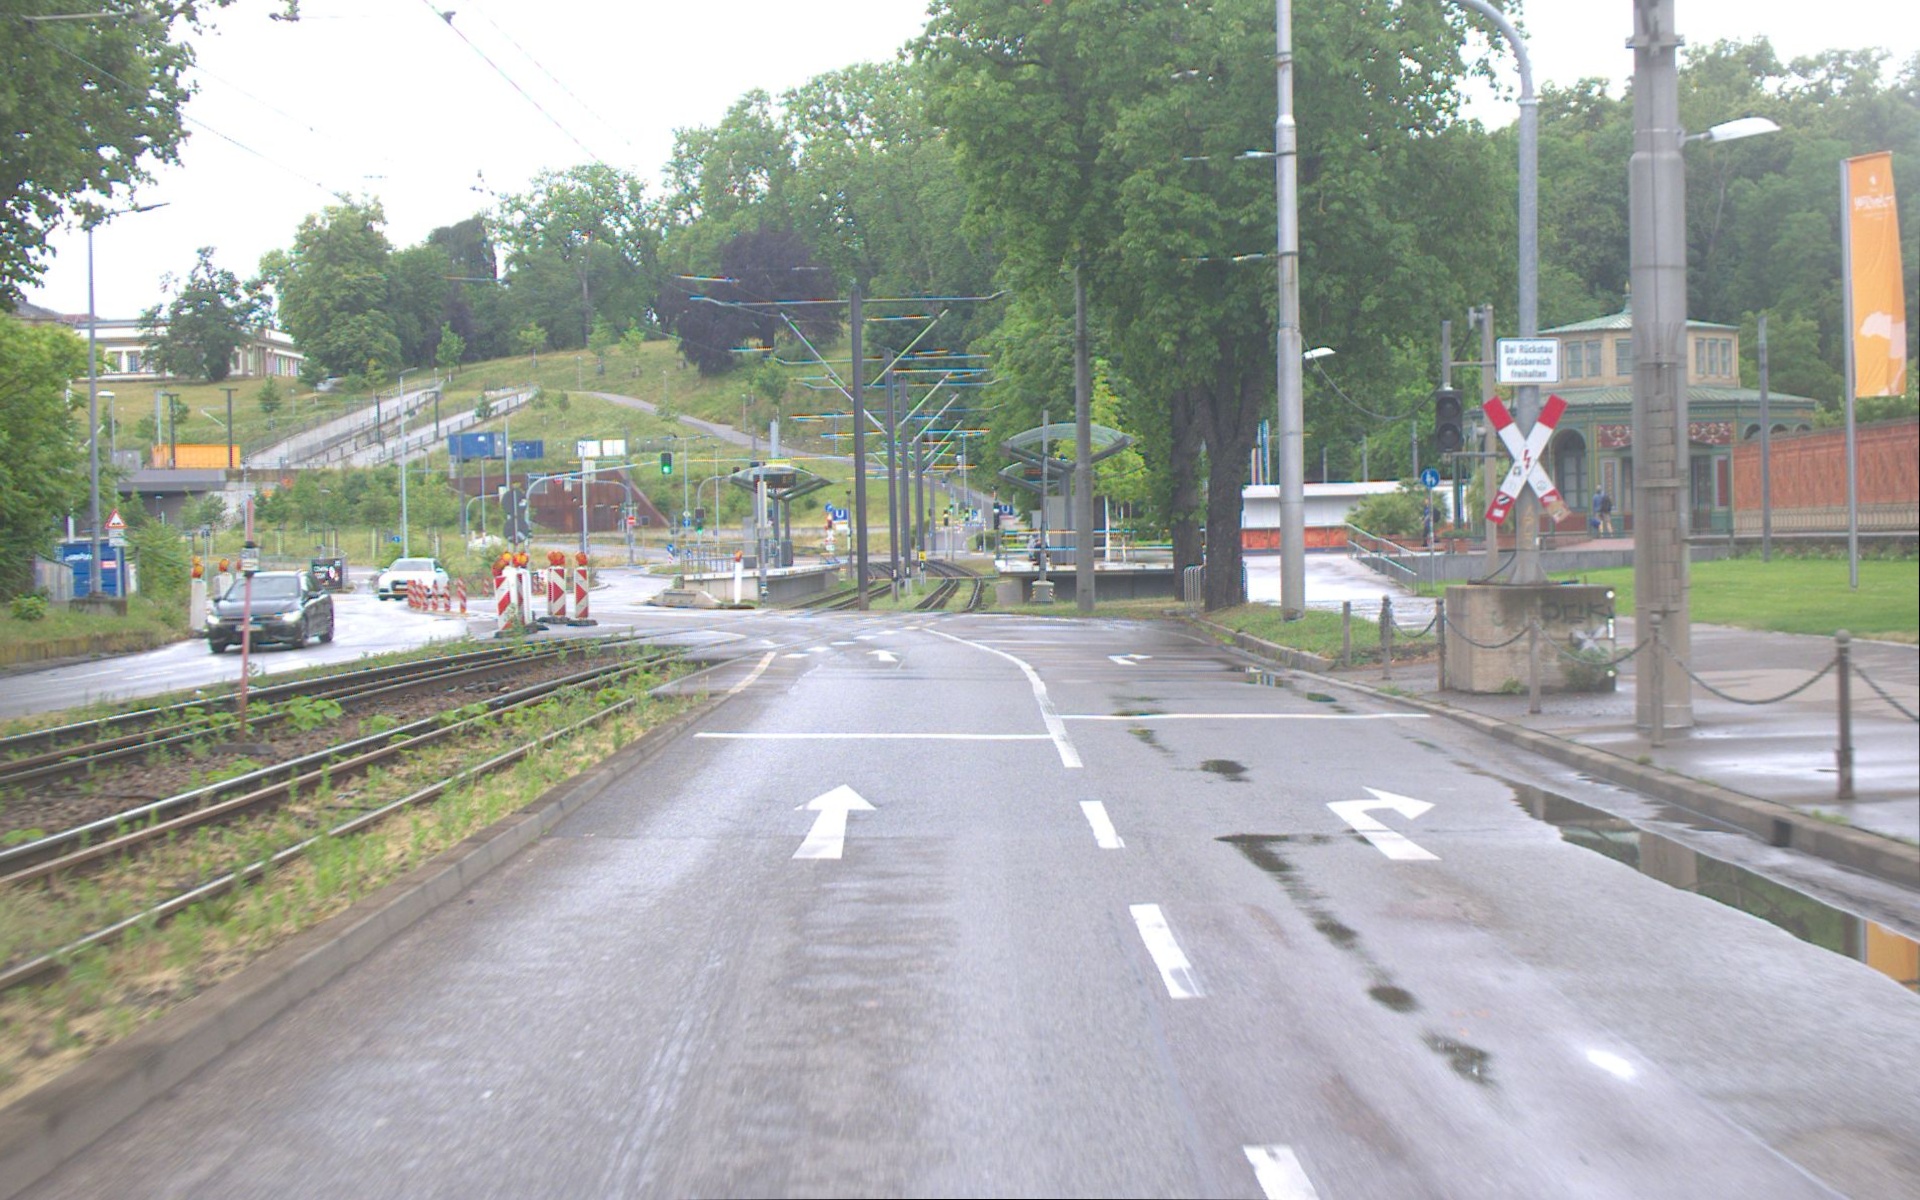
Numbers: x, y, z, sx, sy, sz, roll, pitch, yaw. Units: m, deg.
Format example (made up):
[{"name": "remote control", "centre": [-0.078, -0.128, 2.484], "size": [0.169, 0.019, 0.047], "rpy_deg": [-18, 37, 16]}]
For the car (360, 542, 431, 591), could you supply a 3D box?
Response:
[{"name": "car", "centre": [-18.546, -1.113, 113.033], "size": [1.708, 1.493, 4.720], "rpy_deg": [-2, 1, -2]}]

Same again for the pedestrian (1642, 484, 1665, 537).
[{"name": "pedestrian", "centre": [22.060, -2.847, 109.357], "size": [0.551, 1.651, 0.468], "rpy_deg": [-1, 0, 35]}]

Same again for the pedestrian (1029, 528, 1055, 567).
[{"name": "pedestrian", "centre": [2.434, -1.555, 102.204], "size": [0.600, 1.115, 0.520], "rpy_deg": [3, 0, -15]}]

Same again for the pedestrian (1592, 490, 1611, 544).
[{"name": "pedestrian", "centre": [20.548, -2.661, 110.120], "size": [0.531, 1.705, 0.695], "rpy_deg": [1, -1, 12]}]

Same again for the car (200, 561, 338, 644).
[{"name": "car", "centre": [-13.209, 0.019, 65.940], "size": [1.746, 1.425, 4.561], "rpy_deg": [-3, 1, -1]}]
